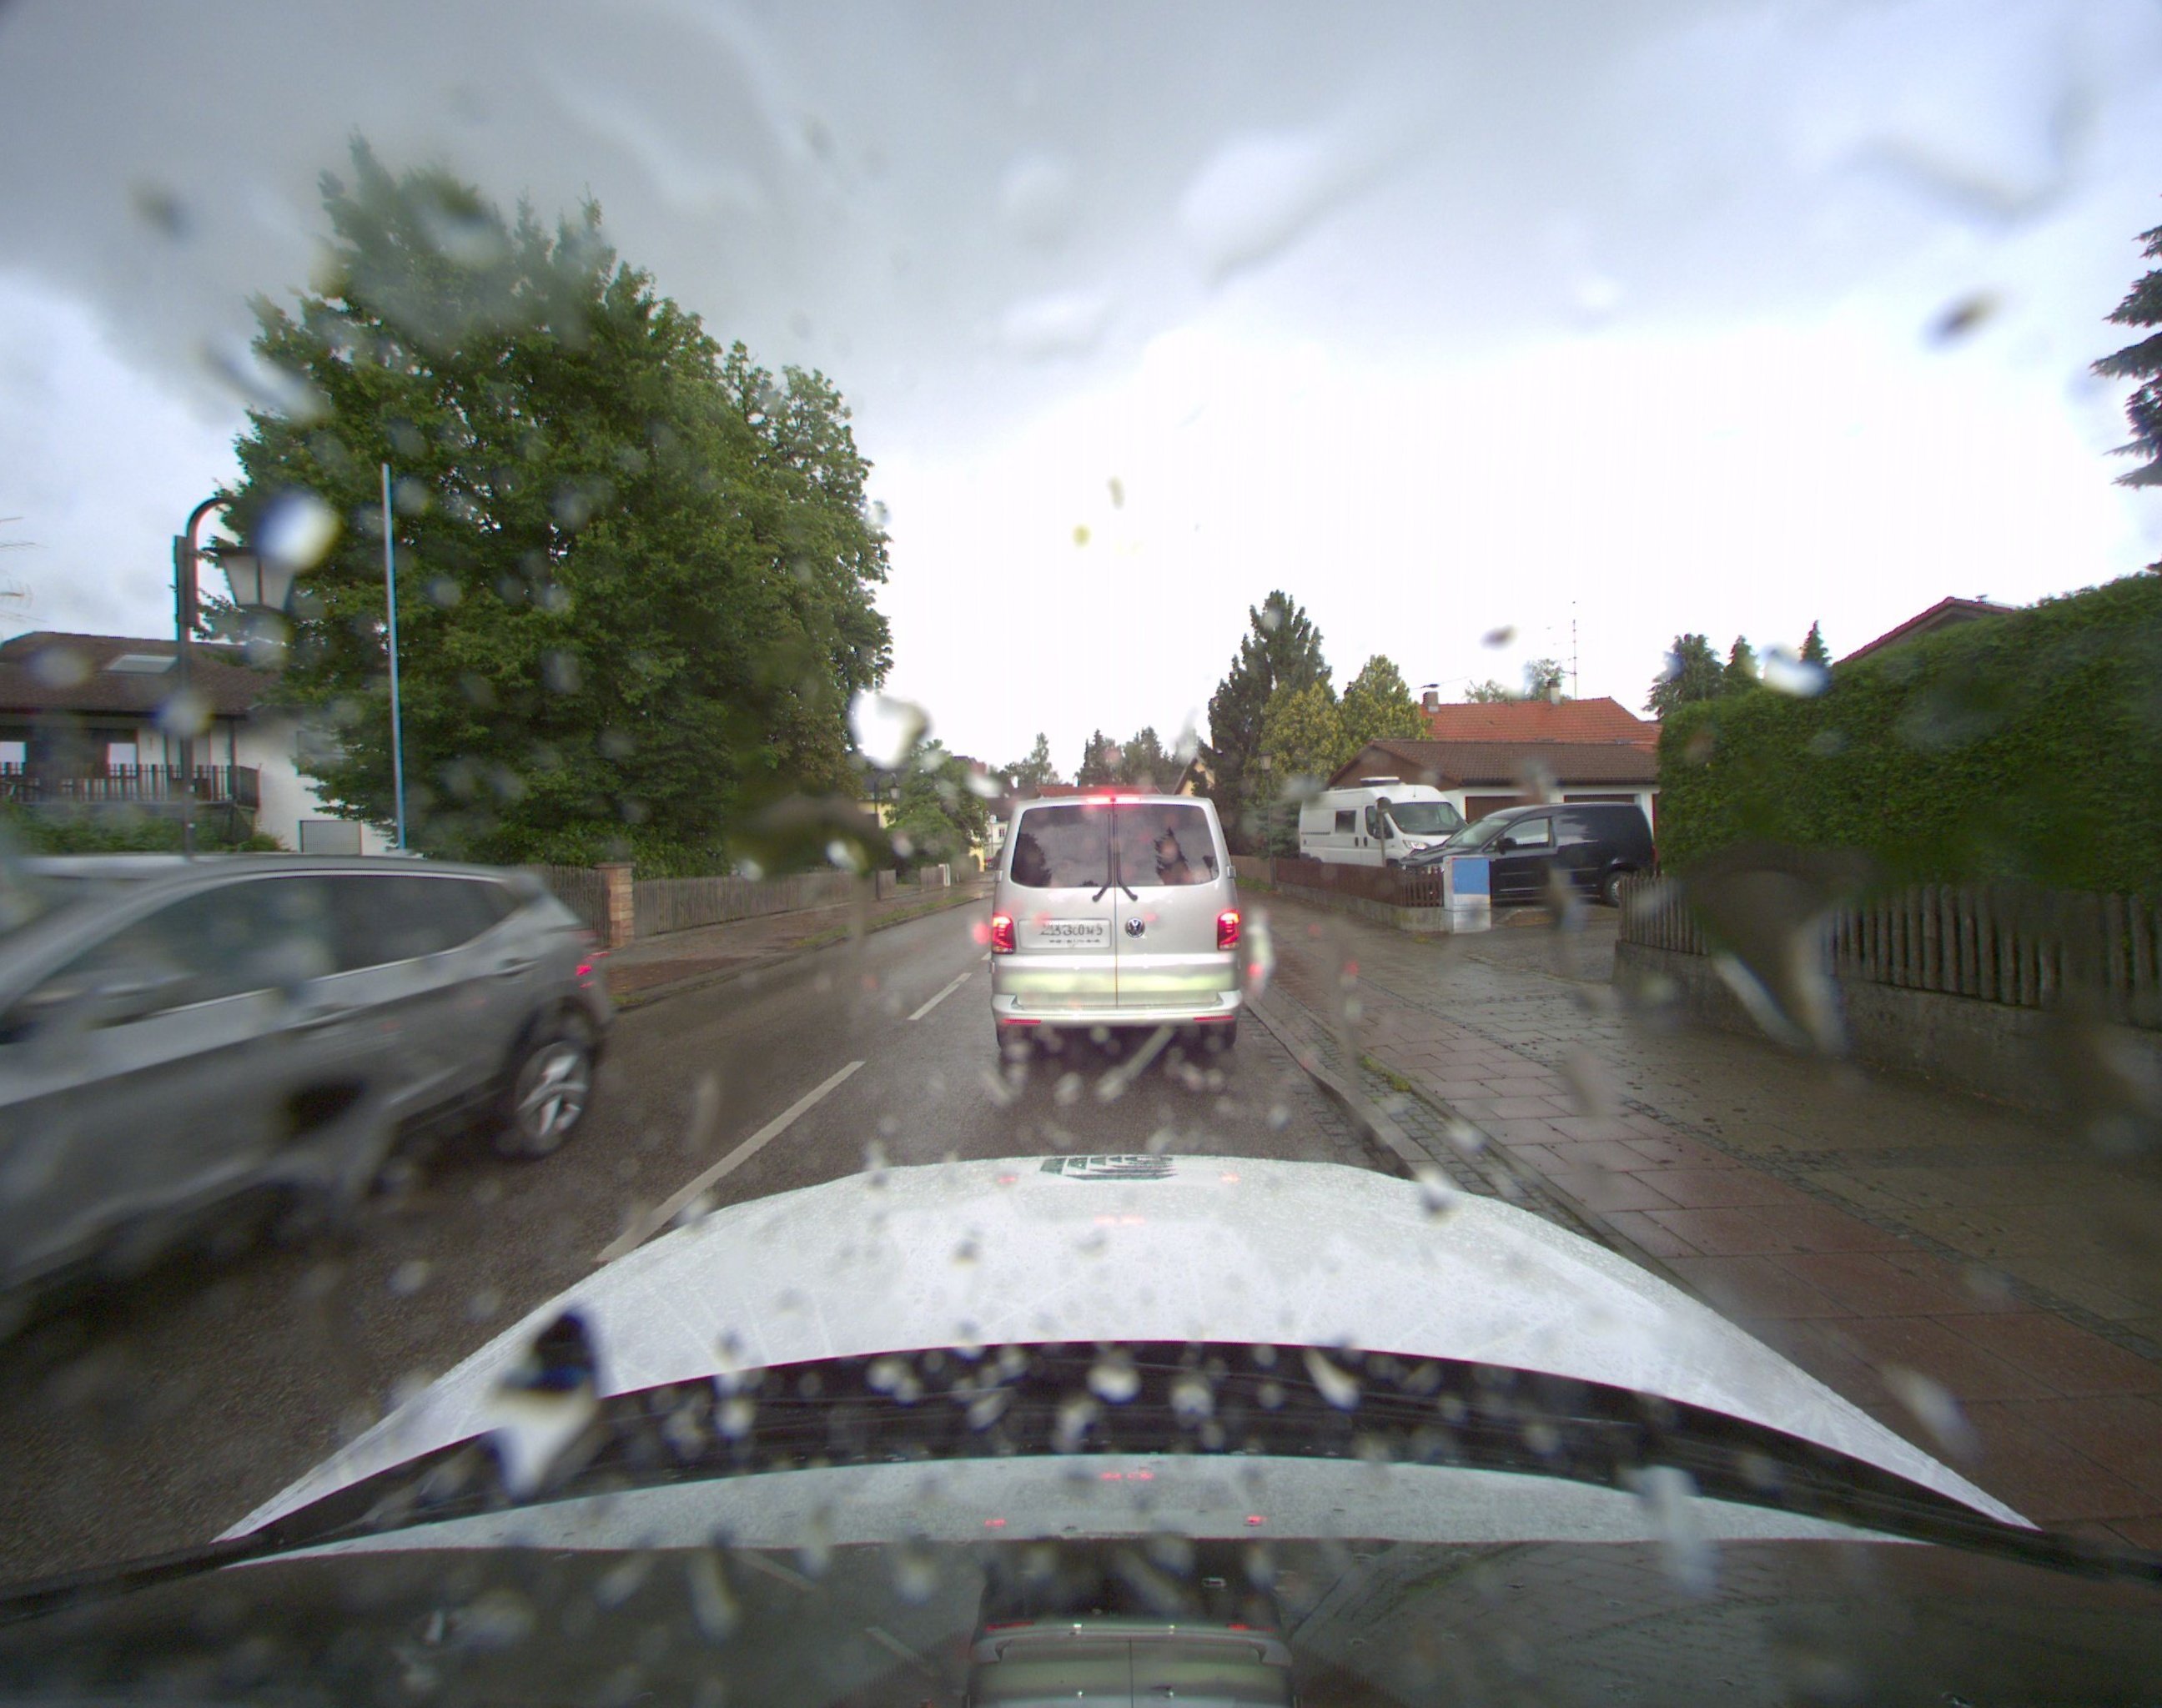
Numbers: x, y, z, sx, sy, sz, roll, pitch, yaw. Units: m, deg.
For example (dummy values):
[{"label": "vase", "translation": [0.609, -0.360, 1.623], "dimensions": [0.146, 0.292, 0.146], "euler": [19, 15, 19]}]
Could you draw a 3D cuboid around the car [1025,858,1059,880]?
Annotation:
[{"label": "car", "translation": [-2.362, 0.917, 49.874], "dimensions": [1.773, 1.310, 3.777], "euler": [0, -1, 2]}]

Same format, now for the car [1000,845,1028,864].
[{"label": "car", "translation": [-7.348, 0.052, 88.778], "dimensions": [2.002, 2.014, 3.970], "euler": [1, -1, -22]}]

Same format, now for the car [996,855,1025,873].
[{"label": "car", "translation": [-7.675, 1.104, 88.336], "dimensions": [2.003, 1.927, 3.968], "euler": [1, -1, -24]}]

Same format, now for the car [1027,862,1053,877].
[{"label": "car", "translation": [-3.851, 1.419, 75.827], "dimensions": [1.781, 1.310, 3.760], "euler": [0, -1, -12]}]

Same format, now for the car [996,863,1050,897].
[{"label": "car", "translation": [-2.288, 1.018, 33.085], "dimensions": [1.773, 1.310, 3.777], "euler": [0, -1, 2]}]

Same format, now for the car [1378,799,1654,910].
[{"label": "car", "translation": [7.690, -0.025, 14.637], "dimensions": [4.083, 1.751, 1.693], "euler": [-2, 2, -2]}]

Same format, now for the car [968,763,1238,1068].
[{"label": "car", "translation": [0.287, 0.432, 7.421], "dimensions": [1.792, 2.014, 4.004], "euler": [0, -1, 4]}]

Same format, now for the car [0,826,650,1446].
[{"label": "car", "translation": [-3.622, 0.752, 2.888], "dimensions": [1.820, 1.558, 4.178], "euler": [-2, -1, 2]}]

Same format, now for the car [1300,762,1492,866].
[{"label": "car", "translation": [7.345, -0.801, 19.676], "dimensions": [1.995, 2.174, 4.933], "euler": [0, -1, -12]}]

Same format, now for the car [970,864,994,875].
[{"label": "car", "translation": [-12.019, 1.869, 98.660], "dimensions": [1.789, 1.310, 3.743], "euler": [1, -1, -26]}]
